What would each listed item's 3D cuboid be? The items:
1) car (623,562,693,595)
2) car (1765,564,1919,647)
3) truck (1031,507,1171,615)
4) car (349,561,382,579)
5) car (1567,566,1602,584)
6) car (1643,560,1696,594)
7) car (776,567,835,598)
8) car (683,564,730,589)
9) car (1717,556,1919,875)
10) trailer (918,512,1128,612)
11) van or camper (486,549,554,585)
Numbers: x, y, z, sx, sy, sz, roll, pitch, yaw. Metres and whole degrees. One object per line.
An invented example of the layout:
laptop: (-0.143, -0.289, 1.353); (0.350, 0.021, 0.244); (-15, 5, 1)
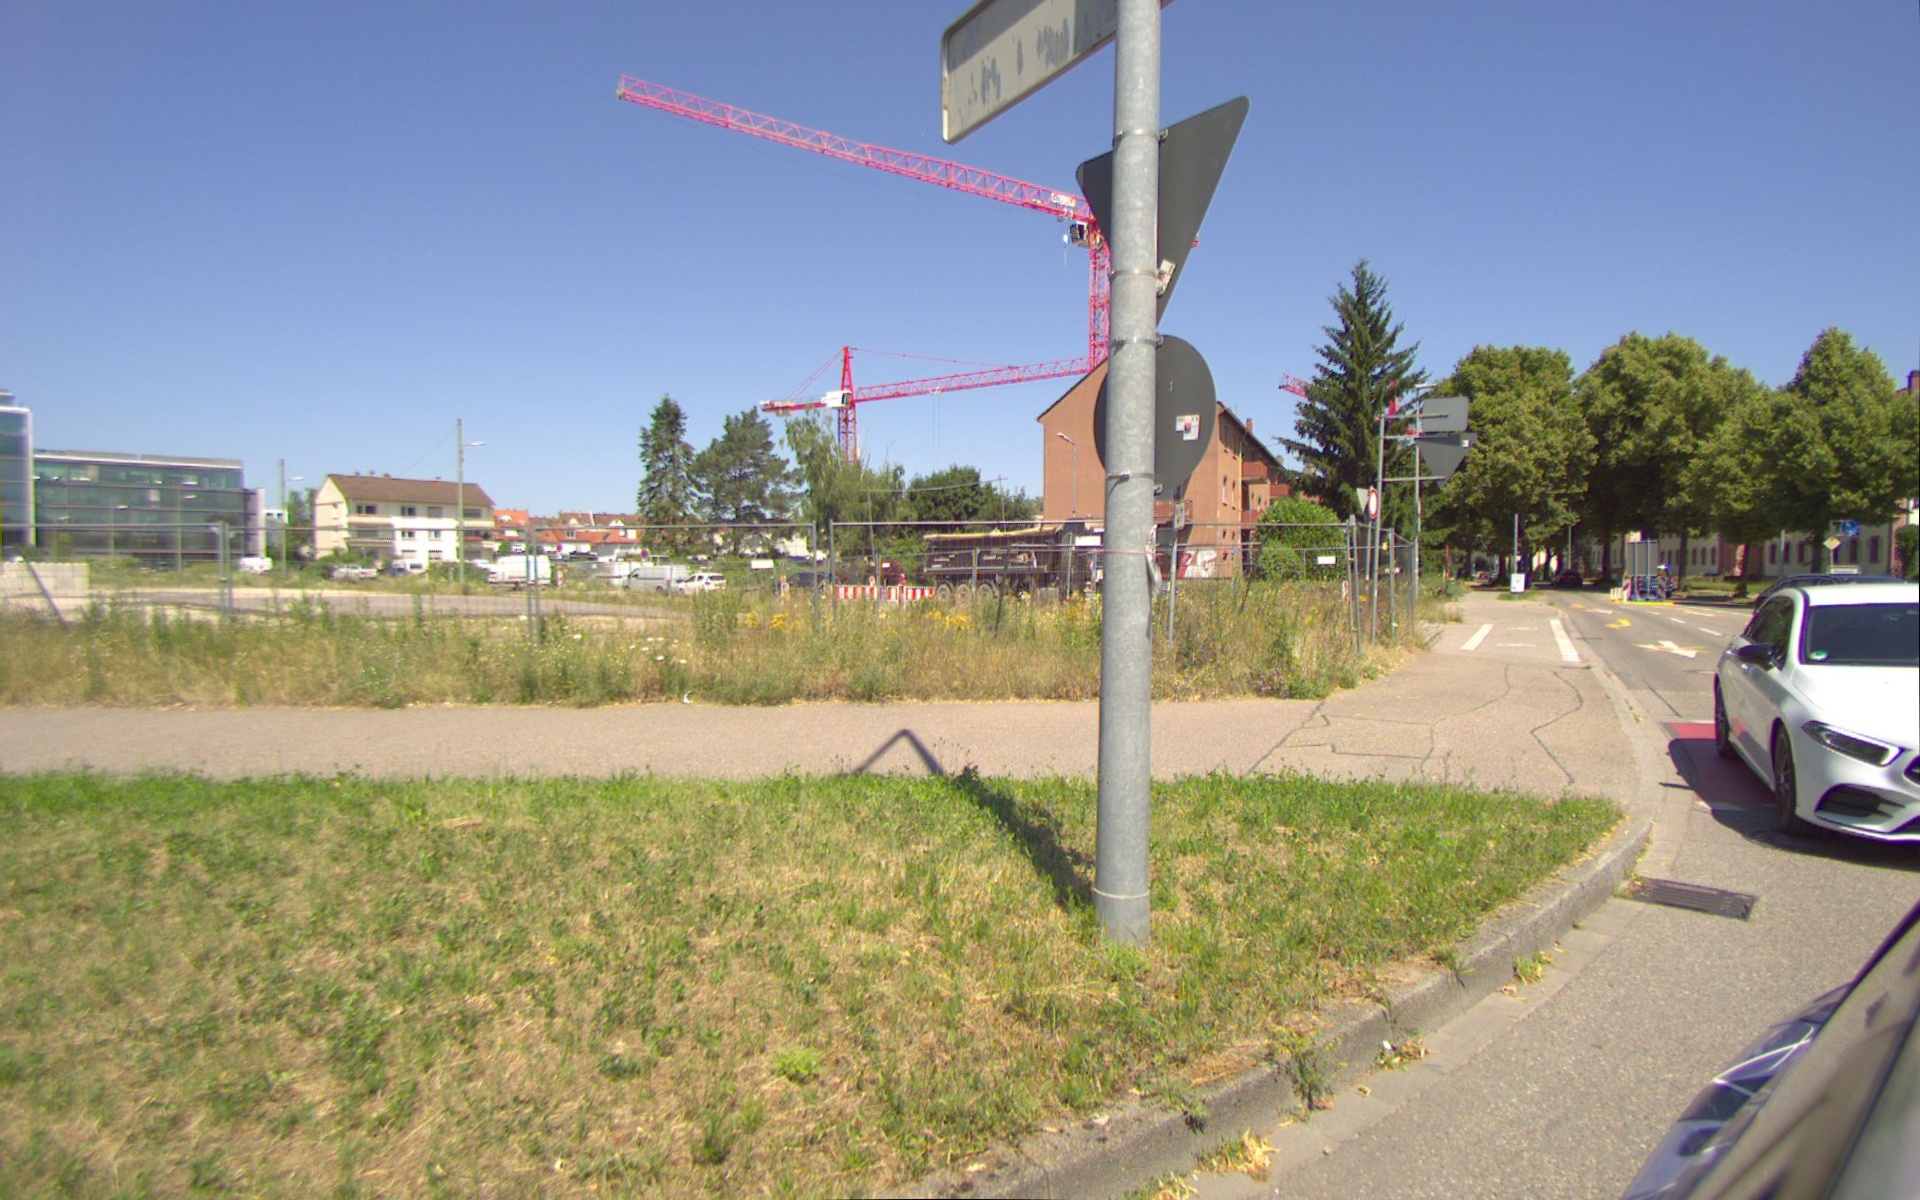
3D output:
car: (-19.205, -1.366, 64.316); (4.653, 2.038, 1.762); (1, 2, 36)
car: (18.702, 0.040, 20.439); (1.772, 1.469, 4.606); (-2, 1, 9)
truck: (4.919, -1.364, 36.286); (3.098, 3.576, 4.976); (0, 2, -18)
car: (-56.997, -2.844, 96.988); (3.606, 1.605, 1.656); (0, 2, 41)
car: (49.614, -2.016, 80.477); (1.624, 1.399, 3.864); (1, 2, 21)
car: (40.686, -1.375, 58.134); (1.672, 1.790, 4.170); (3, 3, 25)
car: (-8.325, -0.970, 54.363); (3.407, 1.633, 1.349); (2, 2, 44)
car: (-15.276, -1.443, 60.926); (2.781, 1.422, 1.397); (2, 4, 43)
car: (6.144, 0.502, 6.374); (1.767, 1.565, 3.919); (-3, 0, 32)
trailer: (2.295, -1.511, 40.907); (3.110, 3.576, 8.978); (-1, 2, -41)
van or camper: (-33.186, -2.481, 76.181); (6.974, 2.634, 1.901); (2, 2, 41)
